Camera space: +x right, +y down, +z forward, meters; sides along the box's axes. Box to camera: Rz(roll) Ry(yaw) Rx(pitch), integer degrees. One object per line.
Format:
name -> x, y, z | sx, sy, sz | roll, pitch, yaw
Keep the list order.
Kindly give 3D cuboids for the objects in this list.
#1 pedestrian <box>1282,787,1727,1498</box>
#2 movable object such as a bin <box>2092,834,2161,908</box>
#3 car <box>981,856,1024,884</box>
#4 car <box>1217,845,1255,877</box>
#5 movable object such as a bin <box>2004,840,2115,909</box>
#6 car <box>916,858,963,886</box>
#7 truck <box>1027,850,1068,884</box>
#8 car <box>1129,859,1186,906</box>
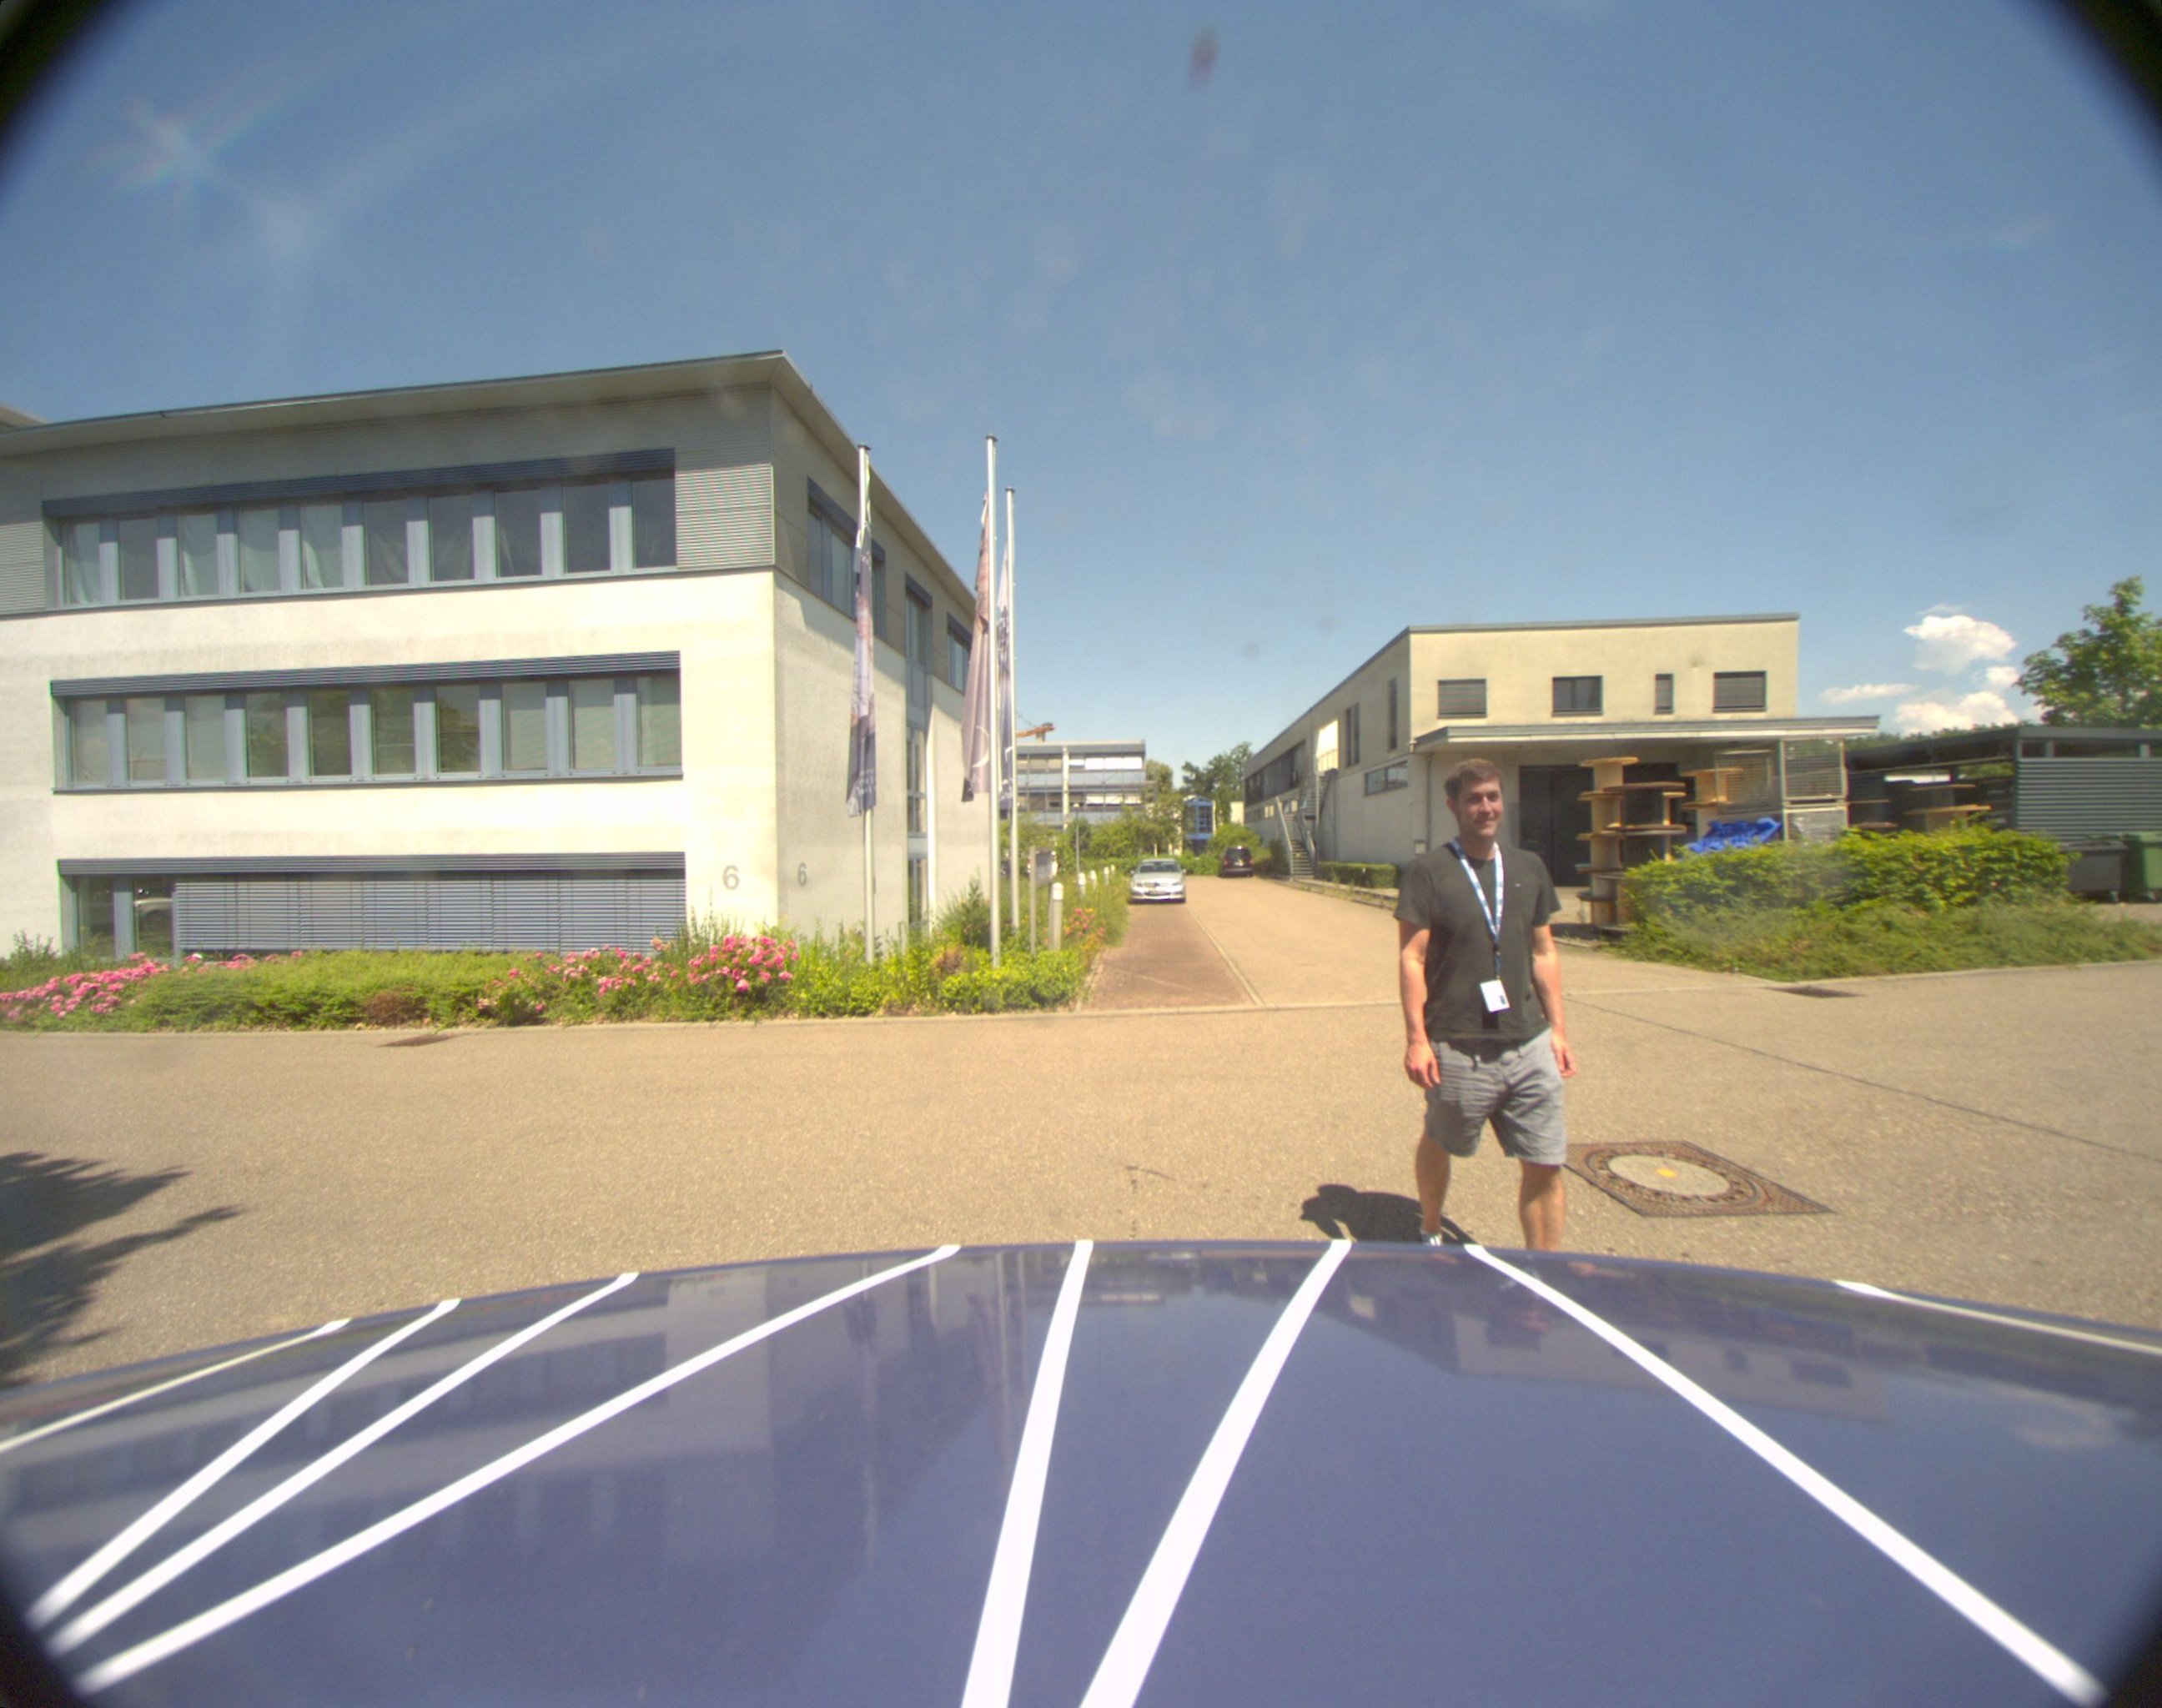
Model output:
pedestrian -> 1.211, 0.747, 2.406 | 0.860, 1.809, 0.904 | -2, 1, 0
movable object such as a bin -> 20.048, 0.301, 14.250 | 1.071, 1.329, 0.760 | -2, 1, 9
car -> -4.729, 0.935, 46.365 | 1.787, 1.537, 4.001 | -2, 1, 5
car -> 9.213, 0.380, 45.407 | 1.786, 1.793, 4.001 | -2, 1, 7
movable object such as a bin -> 18.740, 0.382, 14.575 | 1.071, 1.264, 0.760 | -2, 1, 9
car -> -8.638, 1.076, 46.752 | 1.787, 1.537, 4.001 | -2, 1, 5
truck -> -1.961, 0.721, 45.454 | 1.998, 1.882, 4.001 | -2, 0, 3
car -> 2.624, 0.902, 25.349 | 1.710, 1.383, 3.813 | -1, 1, 8
